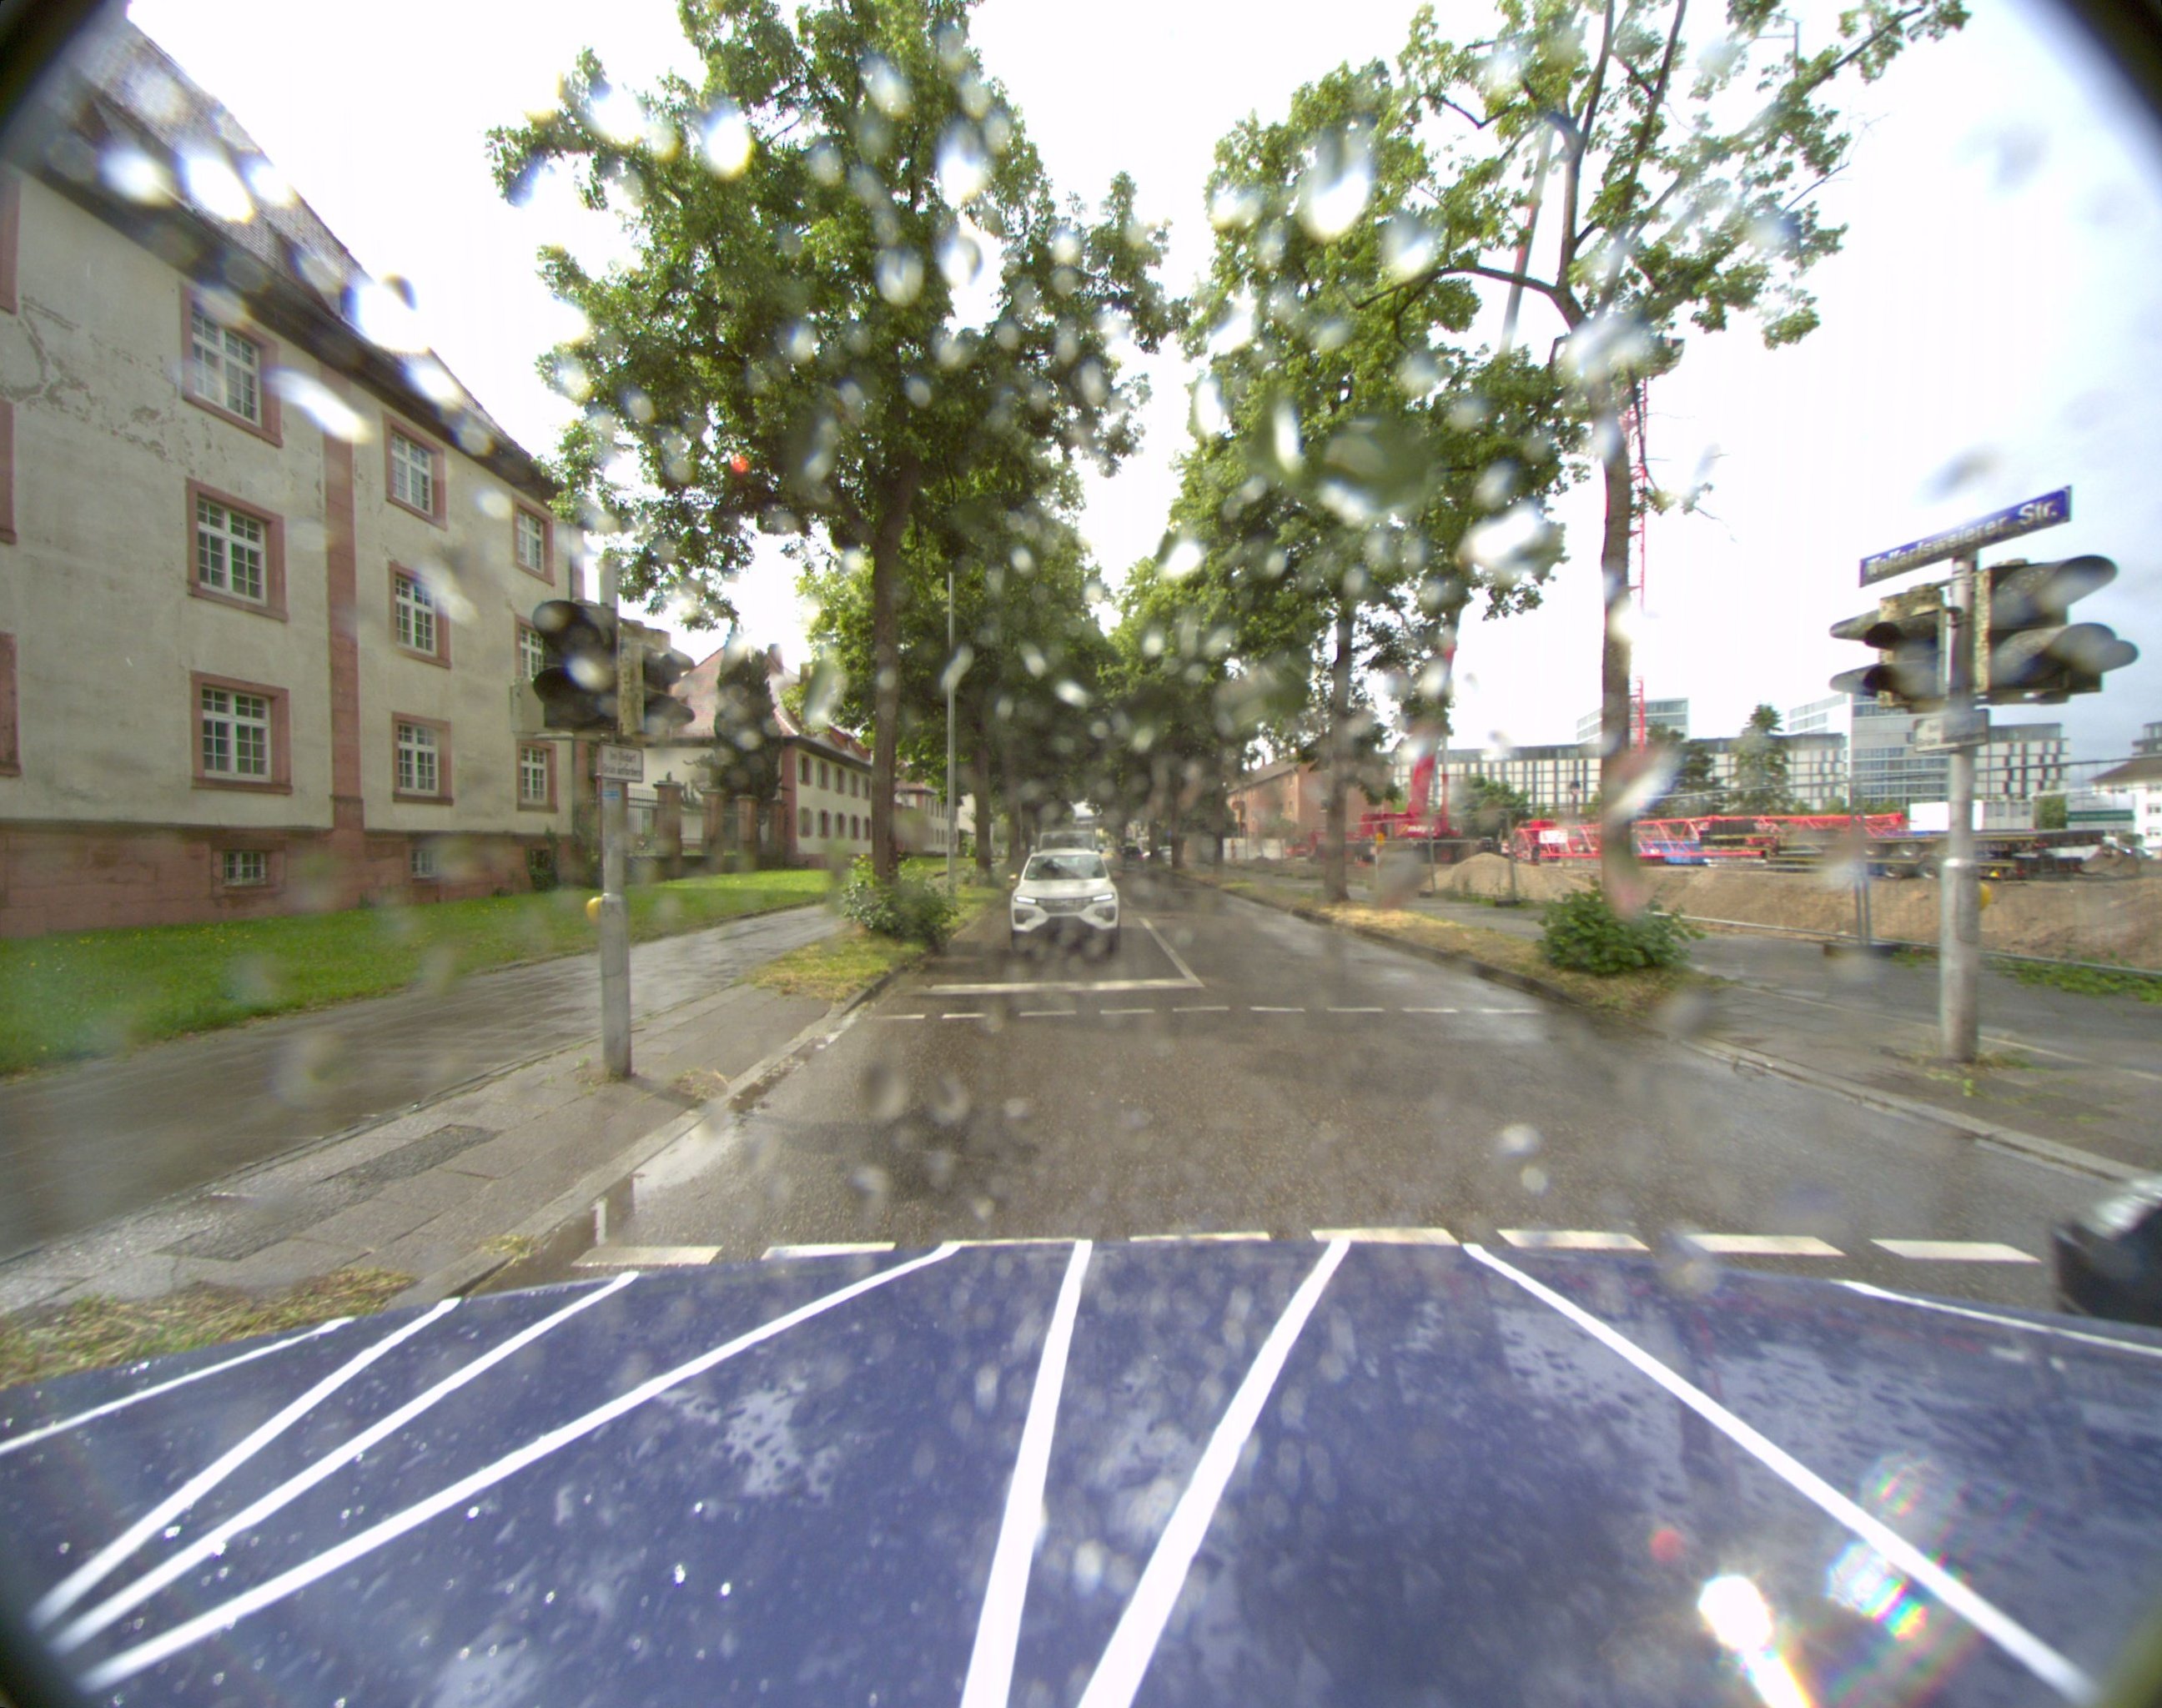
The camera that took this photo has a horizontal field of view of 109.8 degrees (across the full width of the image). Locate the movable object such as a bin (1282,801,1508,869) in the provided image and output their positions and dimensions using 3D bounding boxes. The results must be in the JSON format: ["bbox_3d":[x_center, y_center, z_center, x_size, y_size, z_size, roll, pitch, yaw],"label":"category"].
[{"bbox_3d":[23.970,-1.467,58.617,15.942,4.533,3.101,-2,2,3],"label":"movable object such as a bin"}]

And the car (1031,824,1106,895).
[{"bbox_3d":[-0.483,0.093,24.847,2.107,1.990,5.431,-2,2,-2],"label":"car"}]

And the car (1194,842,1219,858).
[{"bbox_3d":[12.780,-0.459,77.508,1.693,1.521,3.998,-2,2,-2],"label":"car"}]

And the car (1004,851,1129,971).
[{"bbox_3d":[-0.194,0.751,12.129,1.608,1.499,3.999,-2,1,0],"label":"car"}]

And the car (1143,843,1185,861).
[{"bbox_3d":[7.961,-0.202,72.843,3.868,1.543,1.698,-2,2,5],"label":"car"}]

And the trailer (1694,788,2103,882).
[{"bbox_3d":[35.314,-0.863,34.584,2.968,3.215,14.305,-4,2,-1],"label":"trailer"}]

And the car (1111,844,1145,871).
[{"bbox_3d":[2.725,0.216,44.618,1.818,1.531,3.982,0,0,1],"label":"car"}]
